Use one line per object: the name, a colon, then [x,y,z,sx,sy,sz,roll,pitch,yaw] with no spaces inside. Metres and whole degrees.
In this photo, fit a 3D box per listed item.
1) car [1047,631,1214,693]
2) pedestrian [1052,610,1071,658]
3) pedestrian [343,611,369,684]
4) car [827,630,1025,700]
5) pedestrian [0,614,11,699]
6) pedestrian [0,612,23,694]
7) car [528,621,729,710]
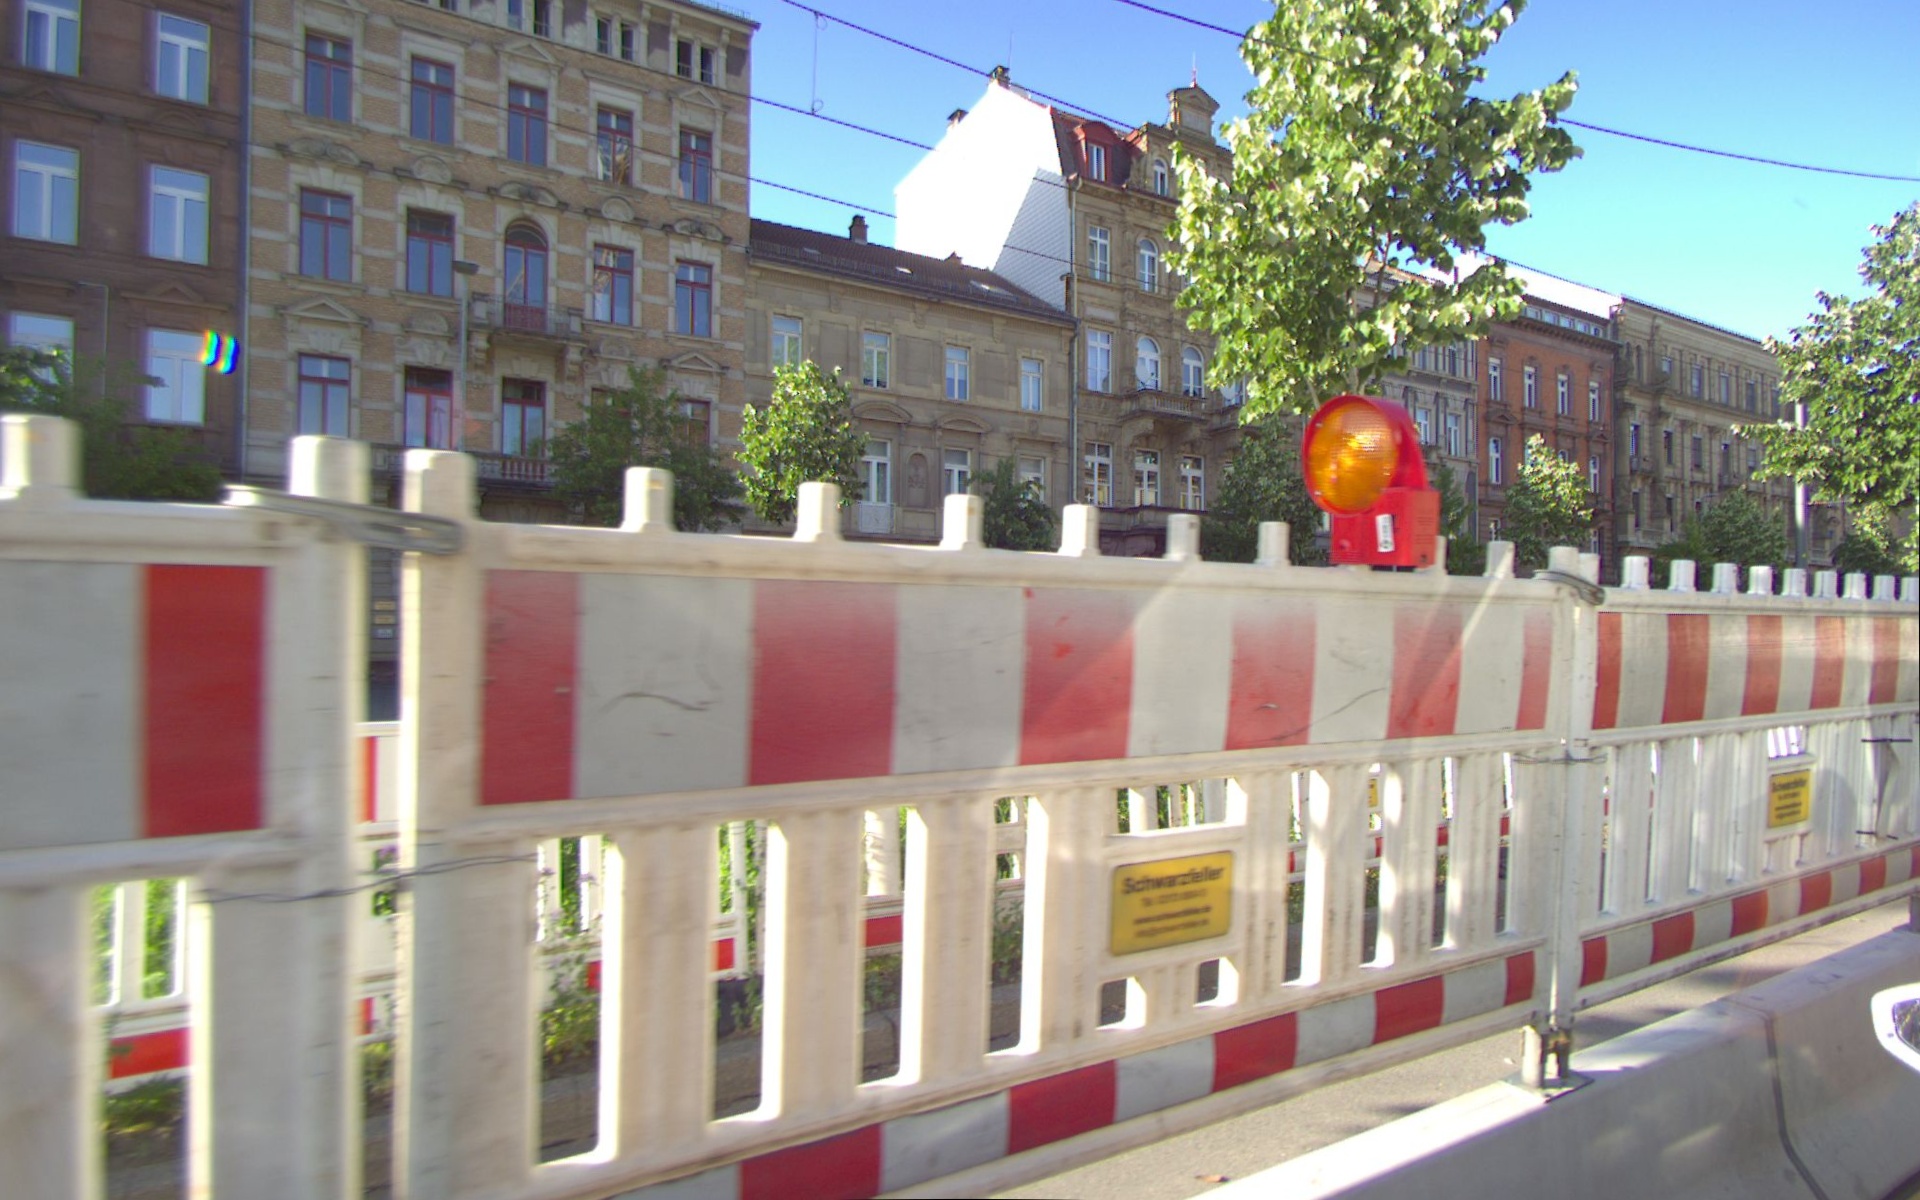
car: [4.727,1.643,27.586,4.660,1.583,1.559,1,-2,-31]
pedestrian: [3.343,1.109,32.949,0.430,1.555,0.403,1,0,-30]
pedestrian: [-13.609,1.063,22.619,0.431,1.606,0.457,1,0,-36]
car: [-0.770,1.520,24.419,4.659,1.583,1.559,1,-2,-30]
pedestrian: [-18.535,1.076,19.294,0.335,1.606,0.426,1,0,-30]
pedestrian: [-18.913,1.042,19.915,0.381,1.606,0.431,1,0,-33]
car: [-6.896,1.317,20.989,3.764,1.697,1.559,1,-2,-30]
